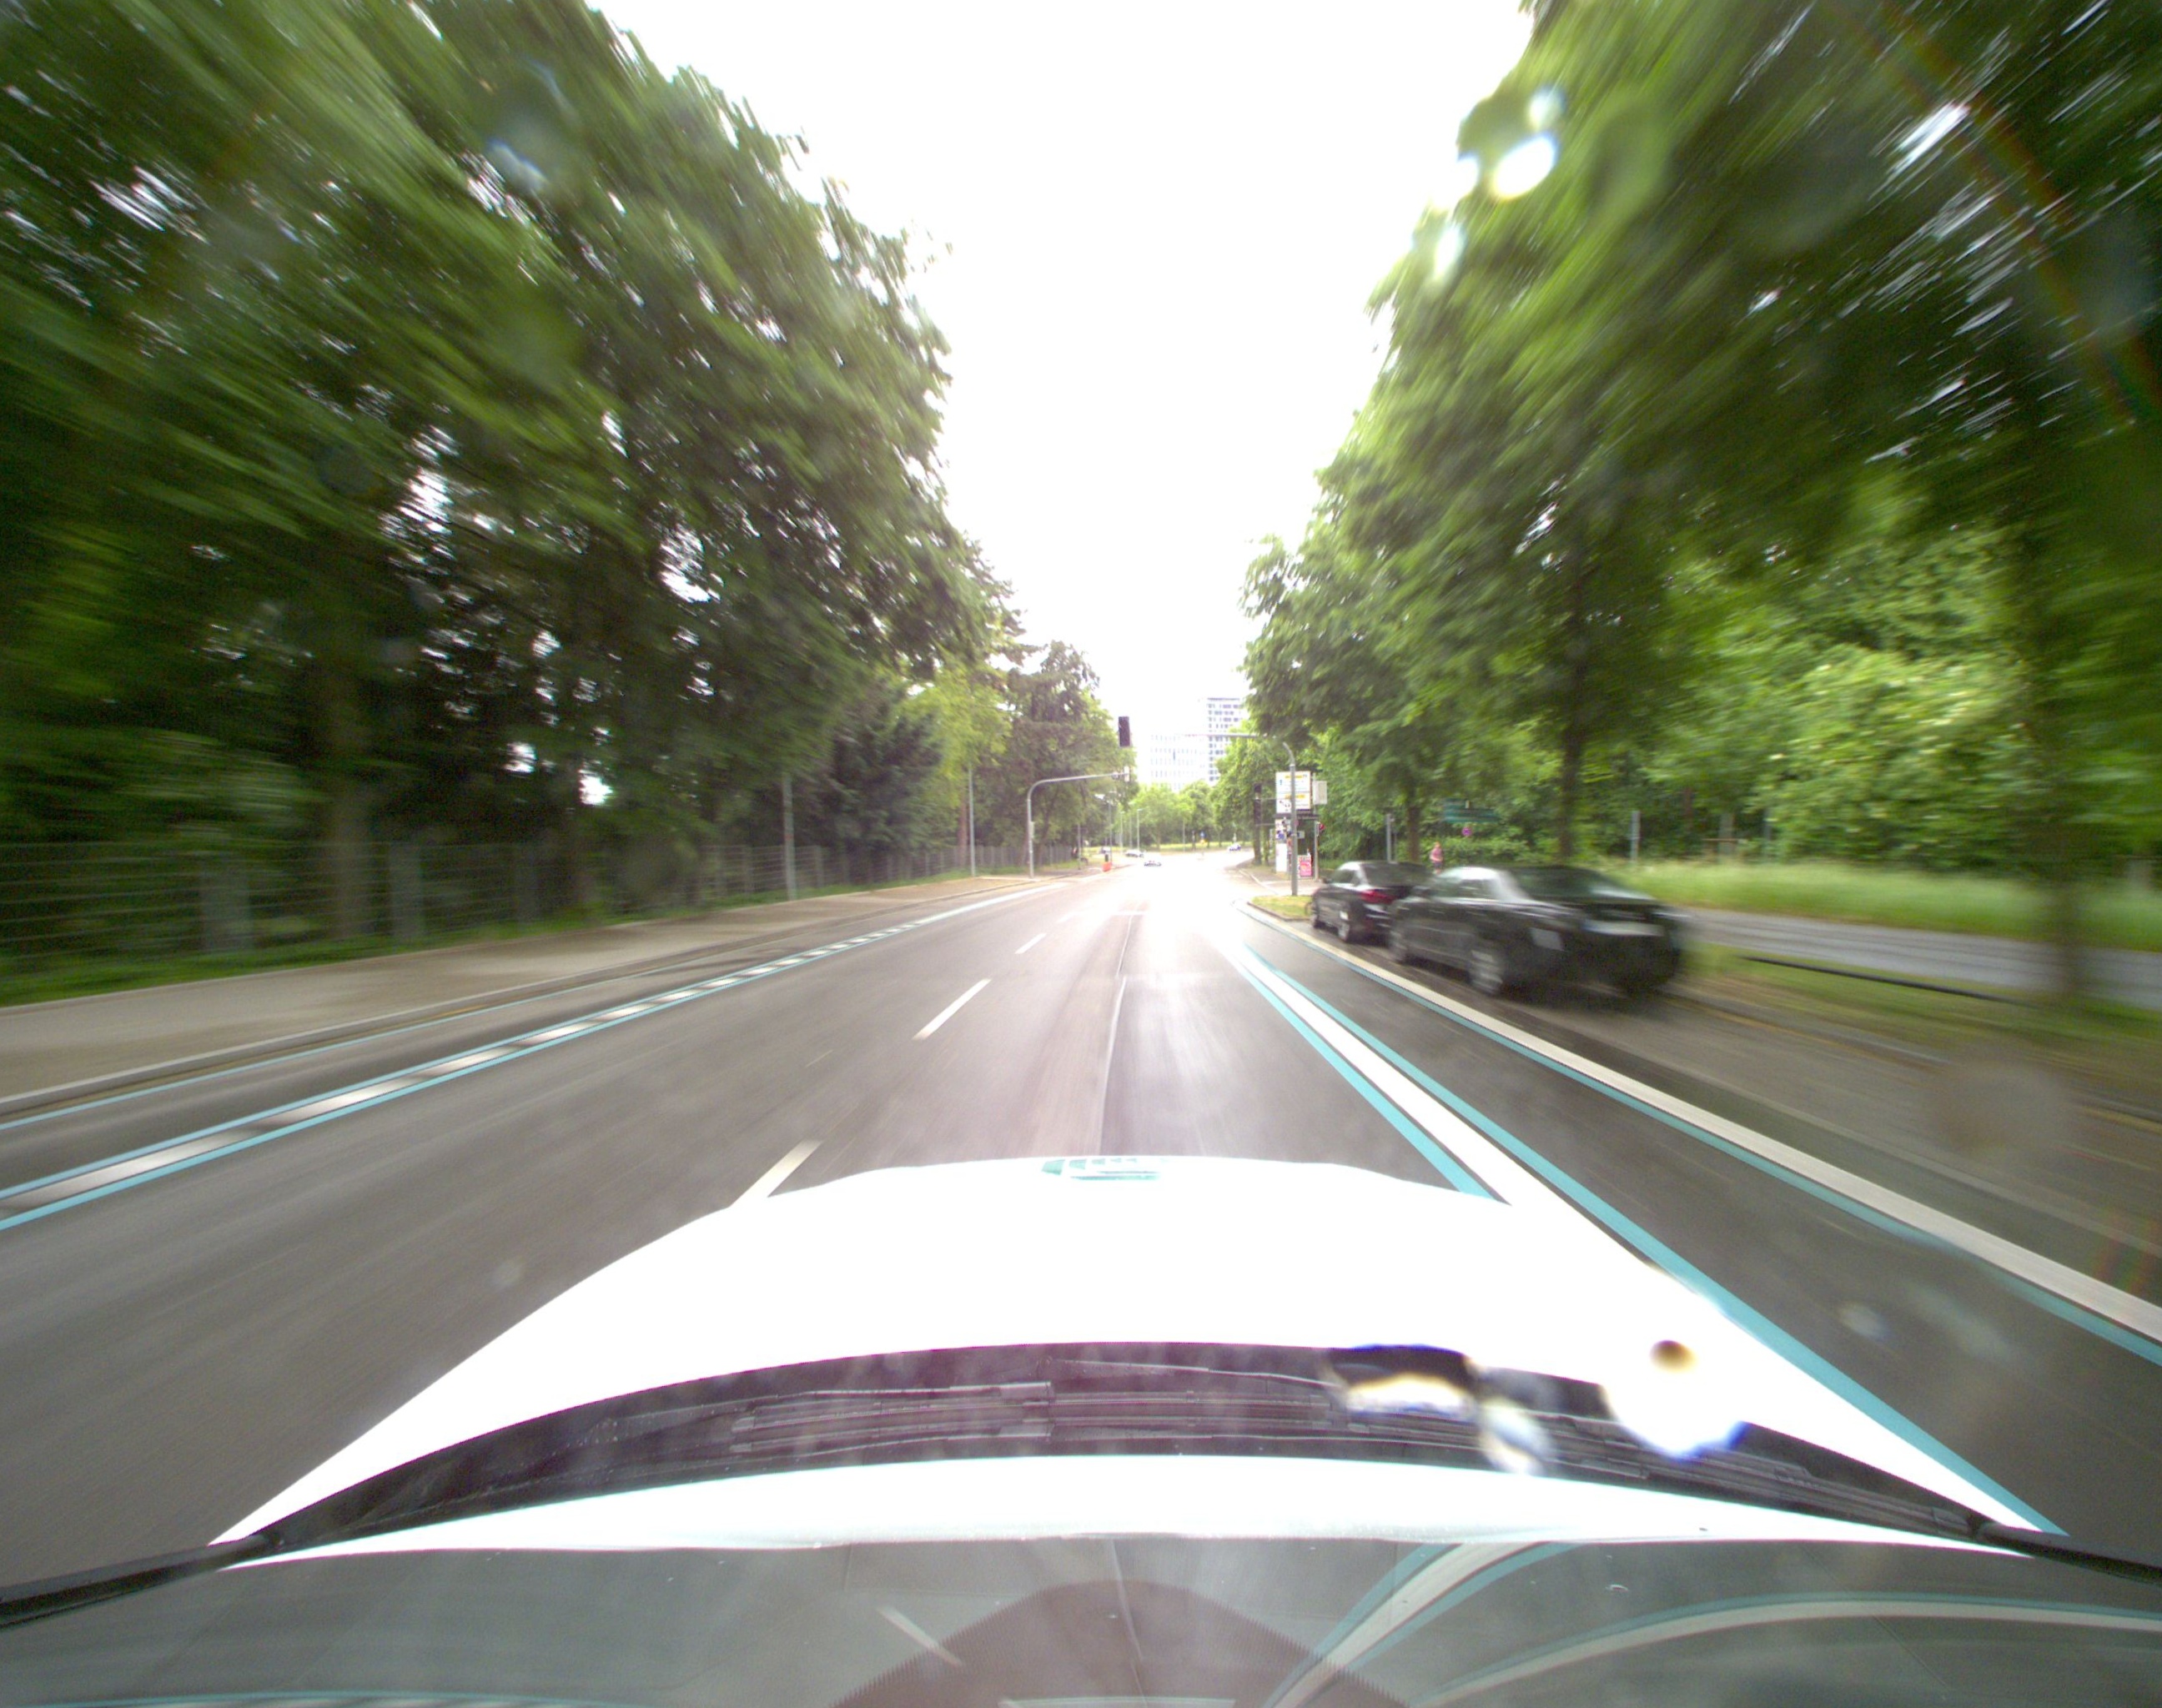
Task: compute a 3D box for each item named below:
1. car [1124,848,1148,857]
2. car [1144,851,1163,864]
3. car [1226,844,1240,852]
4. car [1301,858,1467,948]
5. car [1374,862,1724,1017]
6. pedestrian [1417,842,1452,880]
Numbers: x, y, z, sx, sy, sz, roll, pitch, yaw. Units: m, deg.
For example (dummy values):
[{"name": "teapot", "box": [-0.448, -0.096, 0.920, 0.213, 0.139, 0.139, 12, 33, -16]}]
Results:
[{"name": "car", "box": [9.536, -0.260, 141.087, 3.949, 1.441, 1.617, 3, 2, 39]}, {"name": "car", "box": [8.445, 0.385, 94.560, 1.832, 1.457, 4.512, -1, 1, 9]}, {"name": "car", "box": [32.549, -1.352, 174.690, 1.975, 1.685, 4.023, -1, 0, 25]}, {"name": "car", "box": [5.584, 0.809, 15.668, 1.749, 1.440, 4.863, 0, 0, 5]}, {"name": "car", "box": [5.248, 0.824, 10.023, 1.693, 1.420, 4.765, 1, 0, 2]}, {"name": "pedestrian", "box": [16.172, 0.322, 37.272, 0.893, 1.733, 1.133, 0, 0, -36]}]
